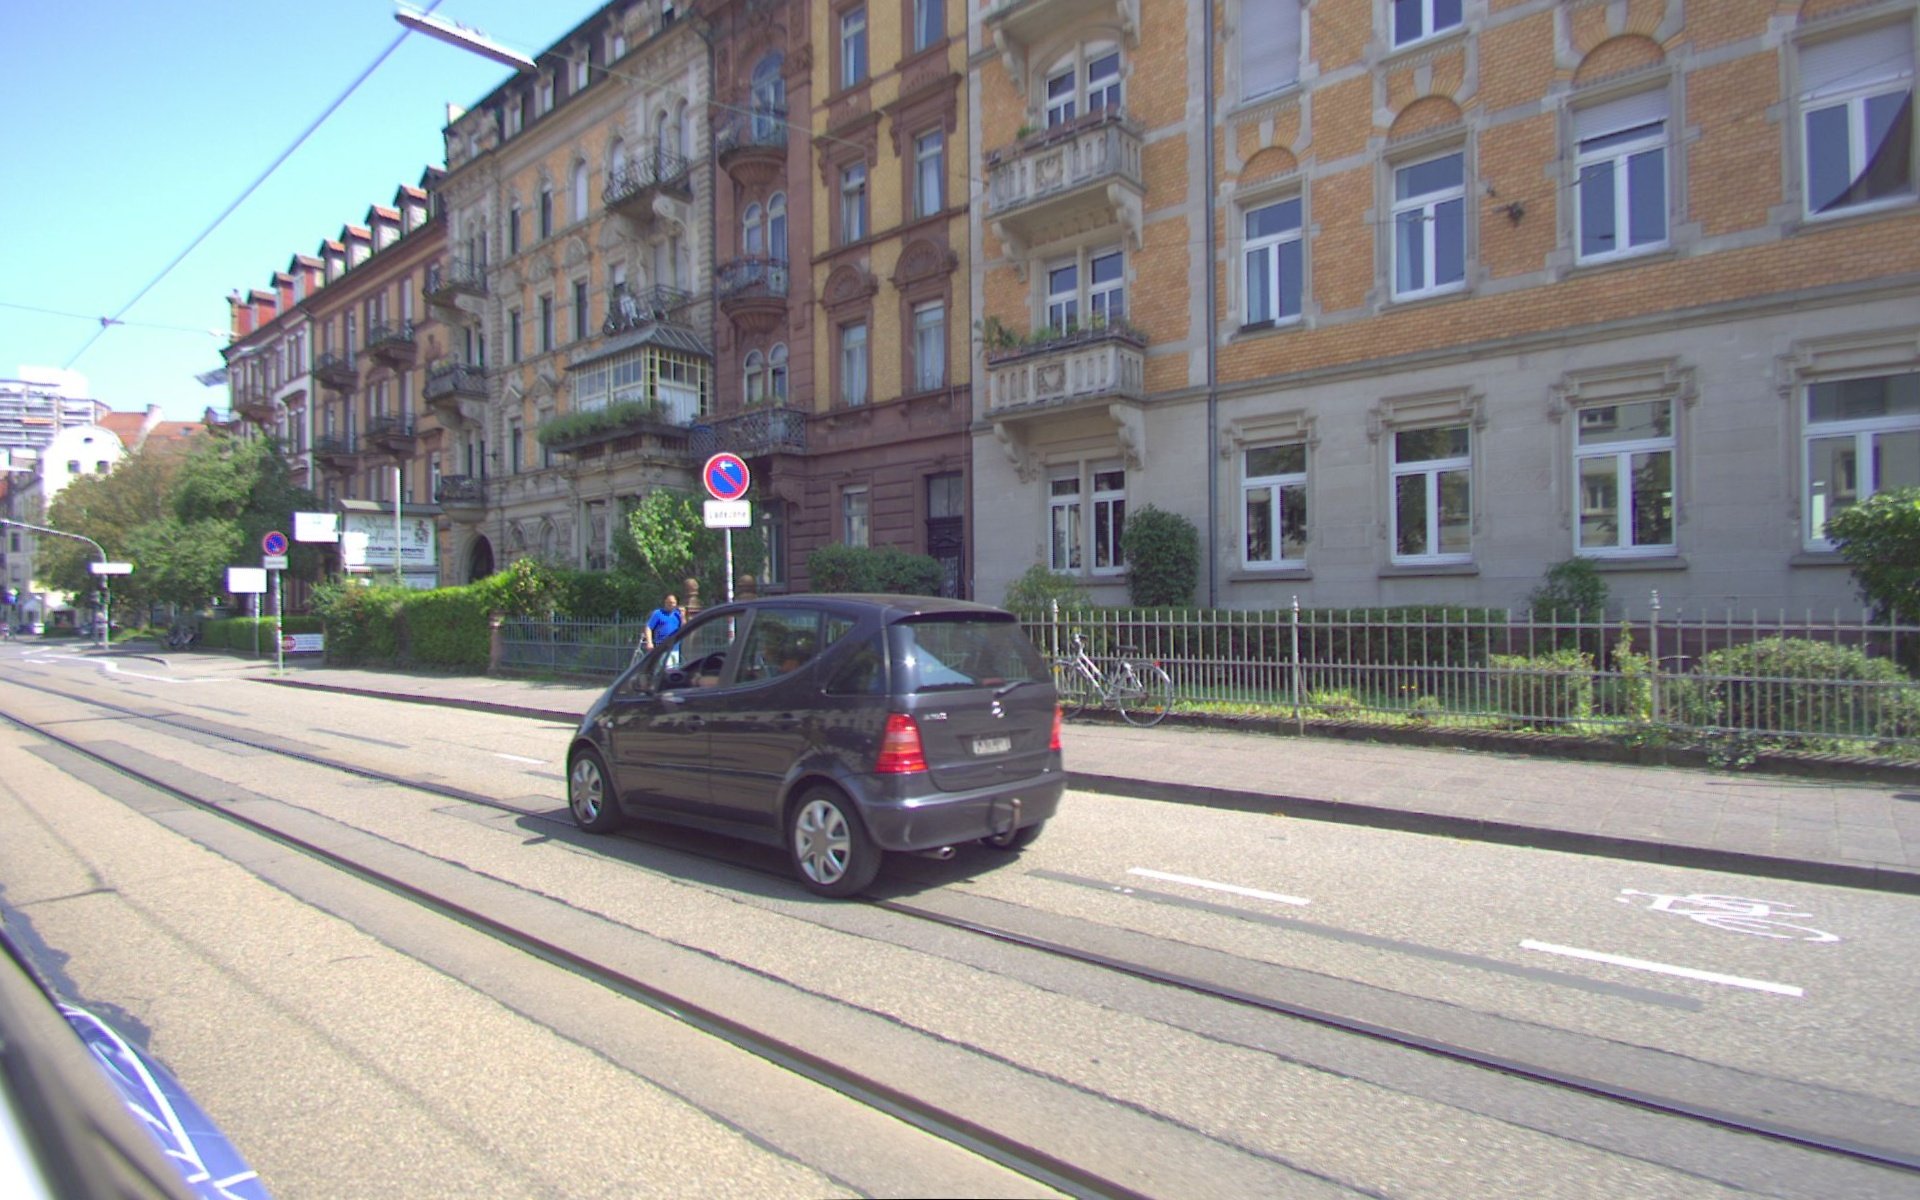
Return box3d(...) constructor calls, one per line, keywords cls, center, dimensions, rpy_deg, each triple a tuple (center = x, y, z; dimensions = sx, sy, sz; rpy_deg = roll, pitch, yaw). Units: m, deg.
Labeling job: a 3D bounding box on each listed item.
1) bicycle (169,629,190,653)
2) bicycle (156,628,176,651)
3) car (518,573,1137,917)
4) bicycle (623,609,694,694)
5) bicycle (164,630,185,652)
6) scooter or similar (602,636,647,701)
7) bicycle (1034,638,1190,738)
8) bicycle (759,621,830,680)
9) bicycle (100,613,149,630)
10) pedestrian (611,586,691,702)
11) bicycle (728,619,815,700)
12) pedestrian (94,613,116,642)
box3d(cls="bicycle", center=(-33.600, 1.754, 43.570), dimensions=(1.657, 0.994, 0.482), rpy_deg=(-2, -1, 44))
box3d(cls="bicycle", center=(-36.812, 1.813, 46.892), dimensions=(1.778, 1.029, 0.482), rpy_deg=(-2, -1, 44))
box3d(cls="car", center=(-1.060, 0.709, 6.580), dimensions=(3.998, 1.552, 1.808), rpy_deg=(-2, -2, 41))
box3d(cls="bicycle", center=(-5.222, 0.872, 17.476), dimensions=(1.581, 1.416, 0.386), rpy_deg=(-2, -1, 42))
box3d(cls="bicycle", center=(-34.793, 1.823, 44.814), dimensions=(1.657, 0.949, 0.482), rpy_deg=(-2, -1, 44))
box3d(cls="scooter or similar", center=(-5.372, 1.090, 16.203), dimensions=(0.583, 0.990, 0.397), rpy_deg=(-1, 0, 33))
box3d(cls="bicycle", center=(1.694, 0.968, 11.541), dimensions=(1.832, 1.046, 0.386), rpy_deg=(-2, -1, 42))
box3d(cls="bicycle", center=(-3.074, 0.919, 18.892), dimensions=(0.391, 1.040, 1.386), rpy_deg=(-2, -1, 38))
box3d(cls="bicycle", center=(-74.204, 1.937, 89.915), dimensions=(3.437, 1.447, 1.222), rpy_deg=(-1, -1, 1))
box3d(cls="pedestrian", center=(-4.913, 0.686, 16.086), dimensions=(0.869, 1.769, 0.874), rpy_deg=(-2, -1, 41))
box3d(cls="bicycle", center=(-2.859, 0.877, 15.251), dimensions=(1.581, 1.156, 0.386), rpy_deg=(-2, -1, 42))
box3d(cls="pedestrian", center=(-62.956, 2.020, 74.533), dimensions=(1.036, 2.029, 1.080), rpy_deg=(-1, 0, 40))
